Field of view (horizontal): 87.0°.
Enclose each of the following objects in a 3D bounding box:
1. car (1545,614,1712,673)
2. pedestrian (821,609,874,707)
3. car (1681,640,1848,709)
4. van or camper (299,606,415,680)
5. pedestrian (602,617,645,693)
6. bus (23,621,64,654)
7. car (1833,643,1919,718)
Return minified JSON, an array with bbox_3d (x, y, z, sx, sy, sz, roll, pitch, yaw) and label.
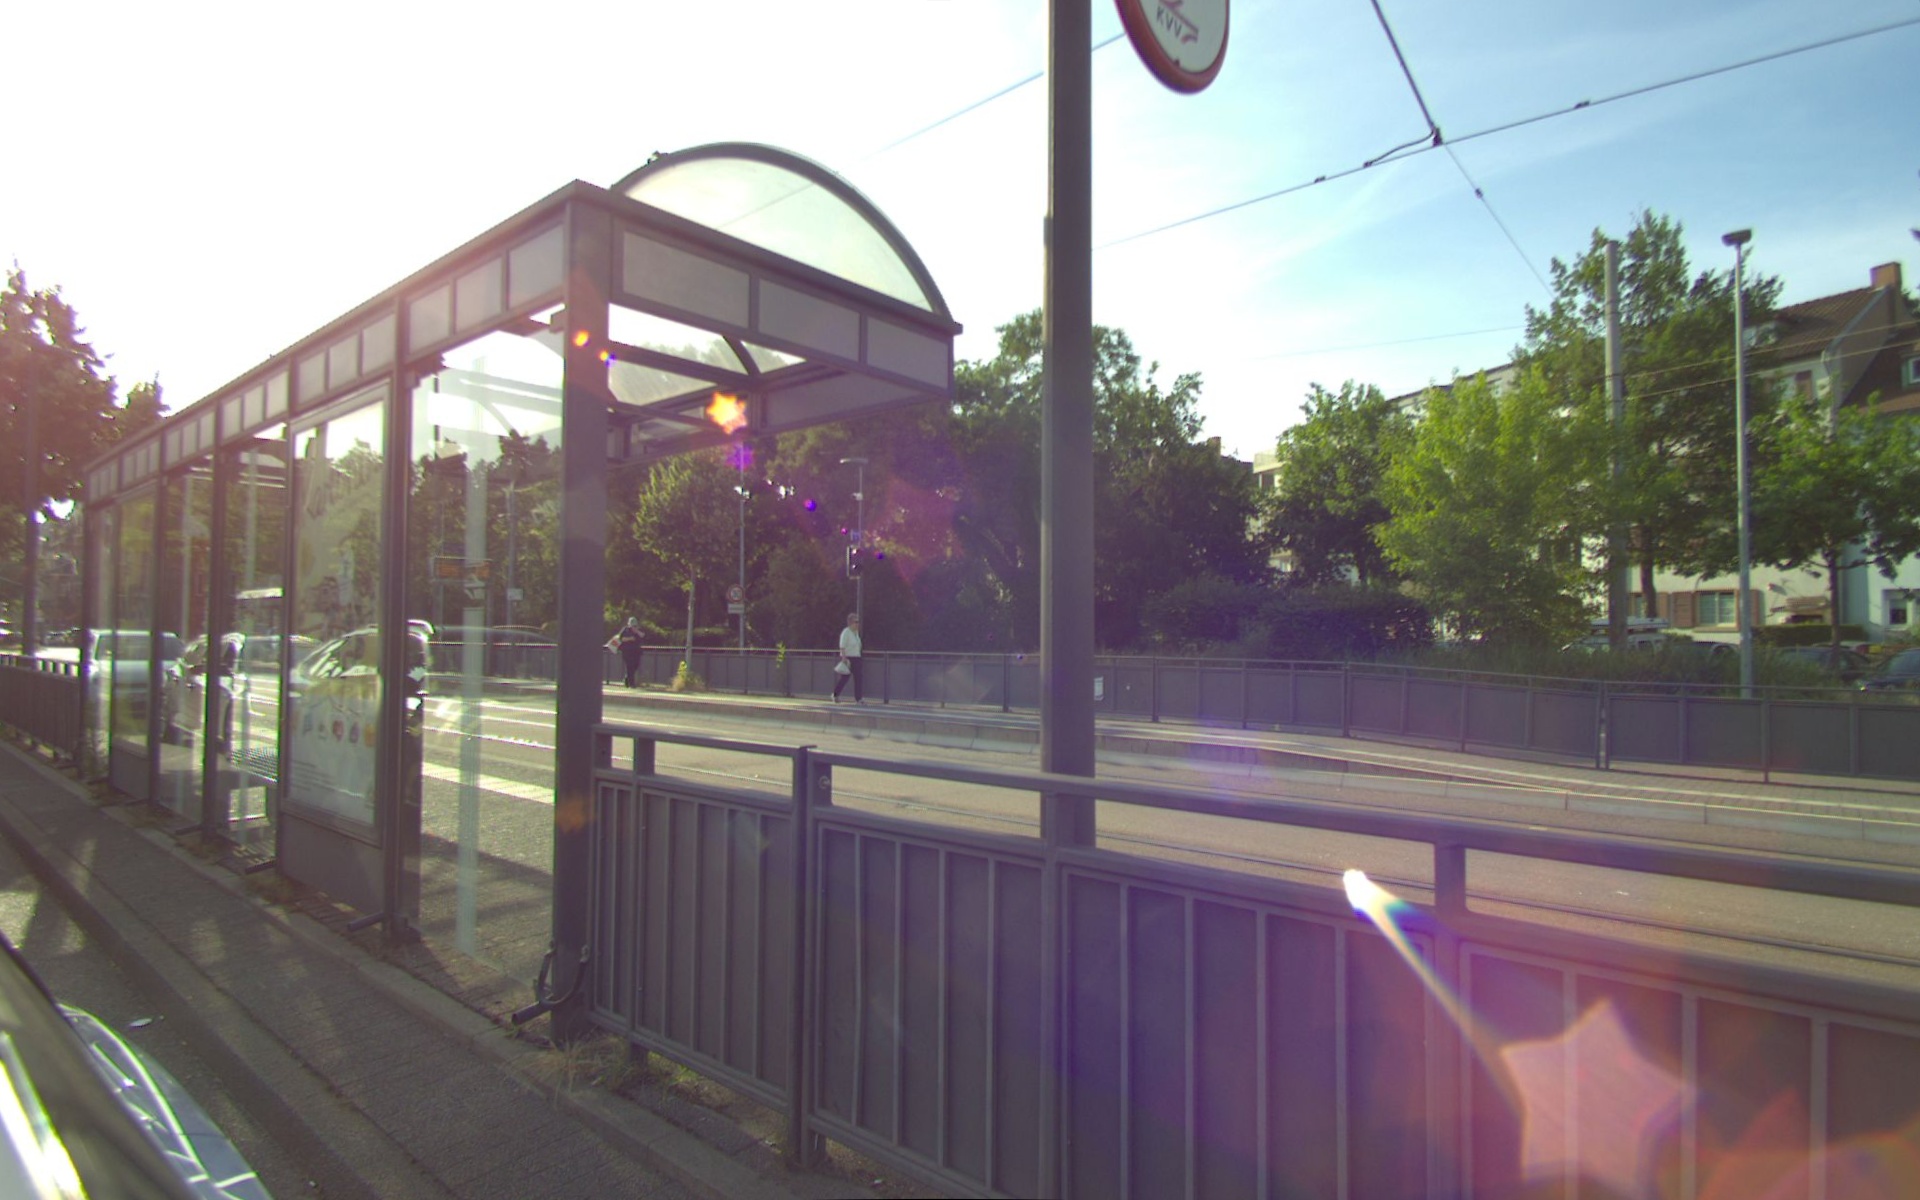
[{"bbox_3d":[18.119,1.192,27.448,3.930,1.497,1.854,1,-3,-22],"label":"car"},{"bbox_3d":[-2.011,1.040,18.100,0.618,1.697,0.613,-2,-6,41],"label":"pedestrian"},{"bbox_3d":[18.180,1.620,22.840,3.935,1.409,2.004,2,-3,-37],"label":"car"},{"bbox_3d":[-26.237,1.777,43.908,6.408,2.990,2.494,-1,0,41],"label":"van or camper"},{"bbox_3d":[-7.741,1.262,23.283,0.618,1.697,0.613,-2,-6,41],"label":"pedestrian"},{"bbox_3d":[-102.593,4.111,113.274,9.258,3.461,2.405,-1,0,41],"label":"bus"},{"bbox_3d":[19.632,1.597,20.613,3.935,1.409,2.004,2,-3,-37],"label":"car"}]
